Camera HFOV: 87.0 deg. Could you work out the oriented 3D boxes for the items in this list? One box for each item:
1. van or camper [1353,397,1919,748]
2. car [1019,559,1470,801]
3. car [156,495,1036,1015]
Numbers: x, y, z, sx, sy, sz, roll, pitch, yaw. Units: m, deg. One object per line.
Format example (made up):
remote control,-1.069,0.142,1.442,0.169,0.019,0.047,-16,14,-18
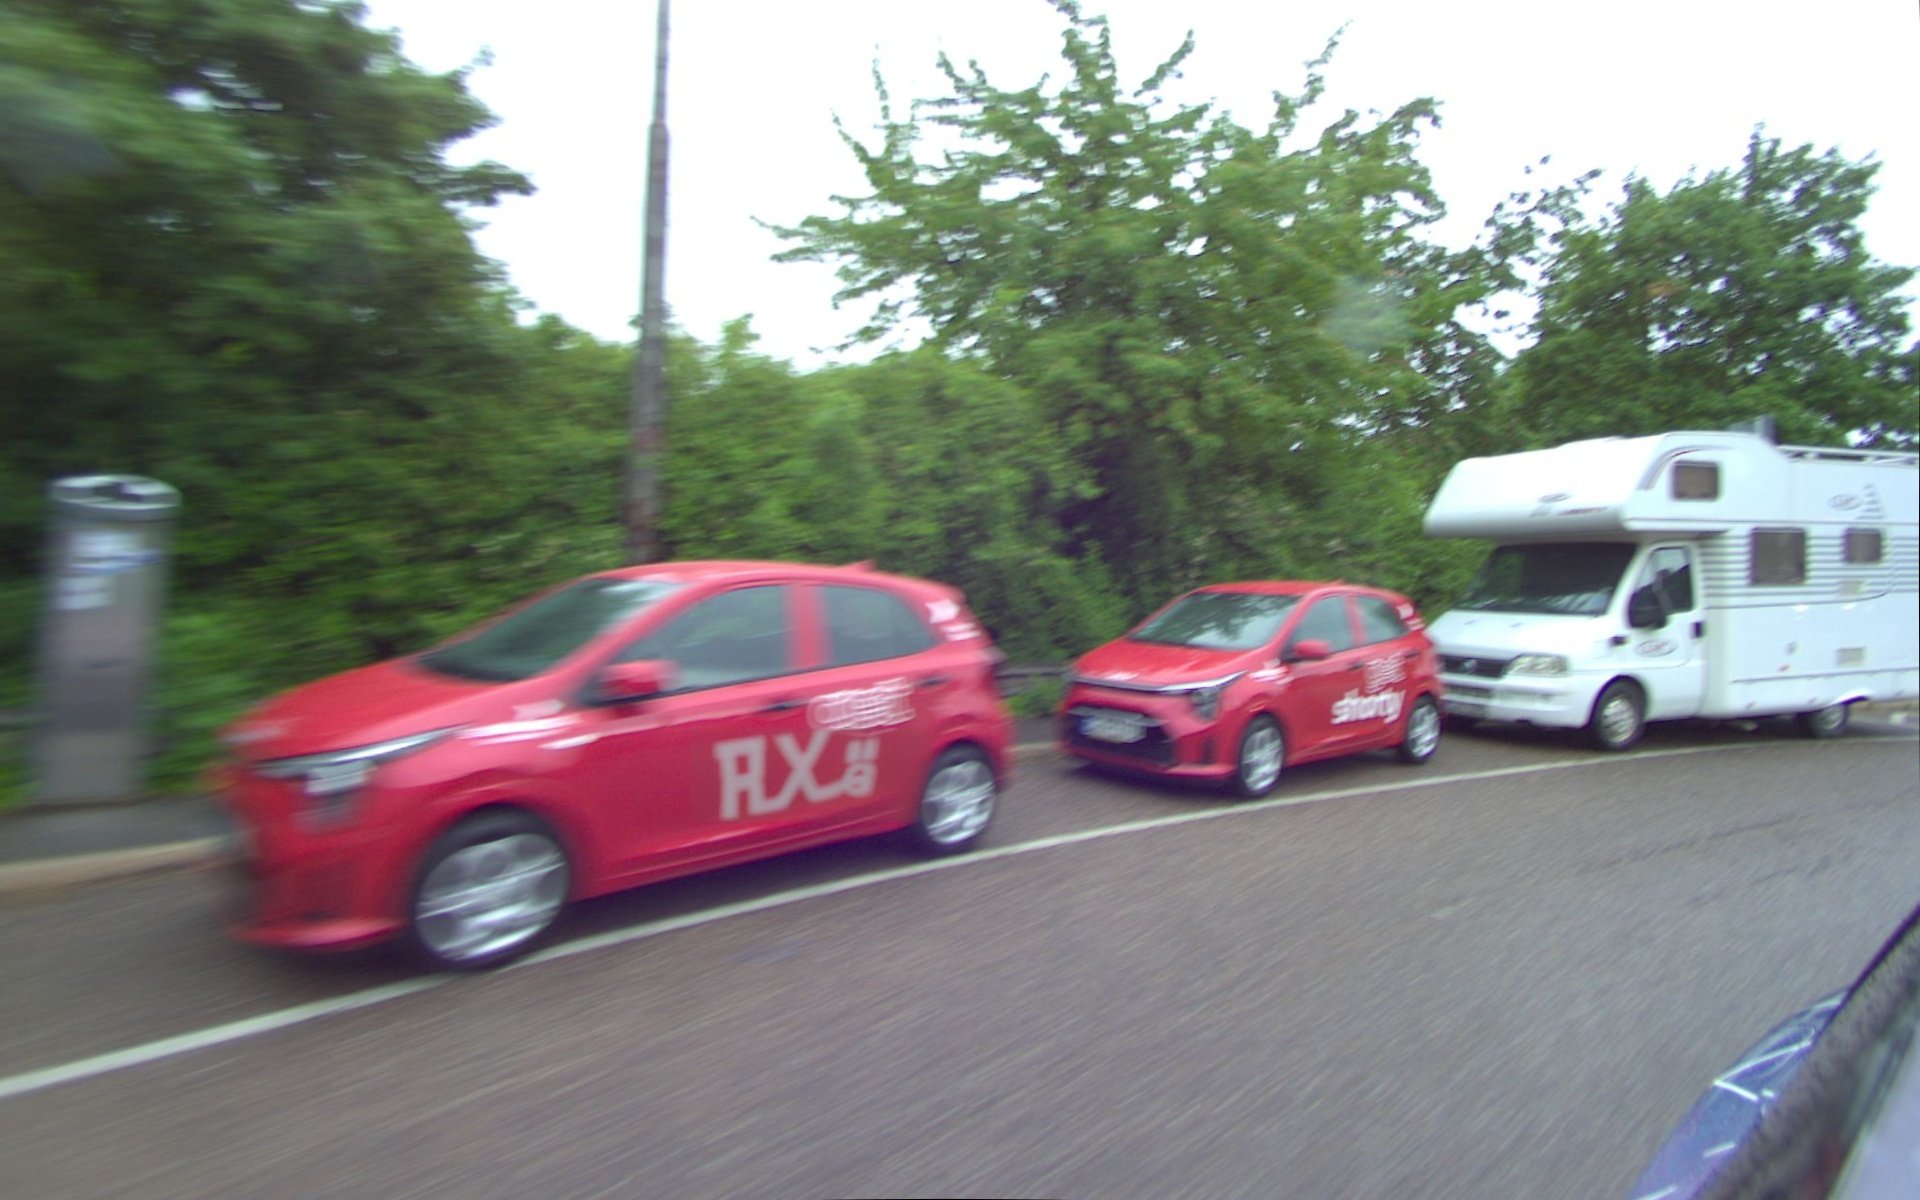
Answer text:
van or camper,7.552,-0.234,10.802,6.149,2.980,2.403,1,1,-21
car,2.410,0.478,8.124,3.739,1.479,1.644,0,2,-40
car,-1.420,0.450,4.831,1.559,1.532,3.616,3,1,44
